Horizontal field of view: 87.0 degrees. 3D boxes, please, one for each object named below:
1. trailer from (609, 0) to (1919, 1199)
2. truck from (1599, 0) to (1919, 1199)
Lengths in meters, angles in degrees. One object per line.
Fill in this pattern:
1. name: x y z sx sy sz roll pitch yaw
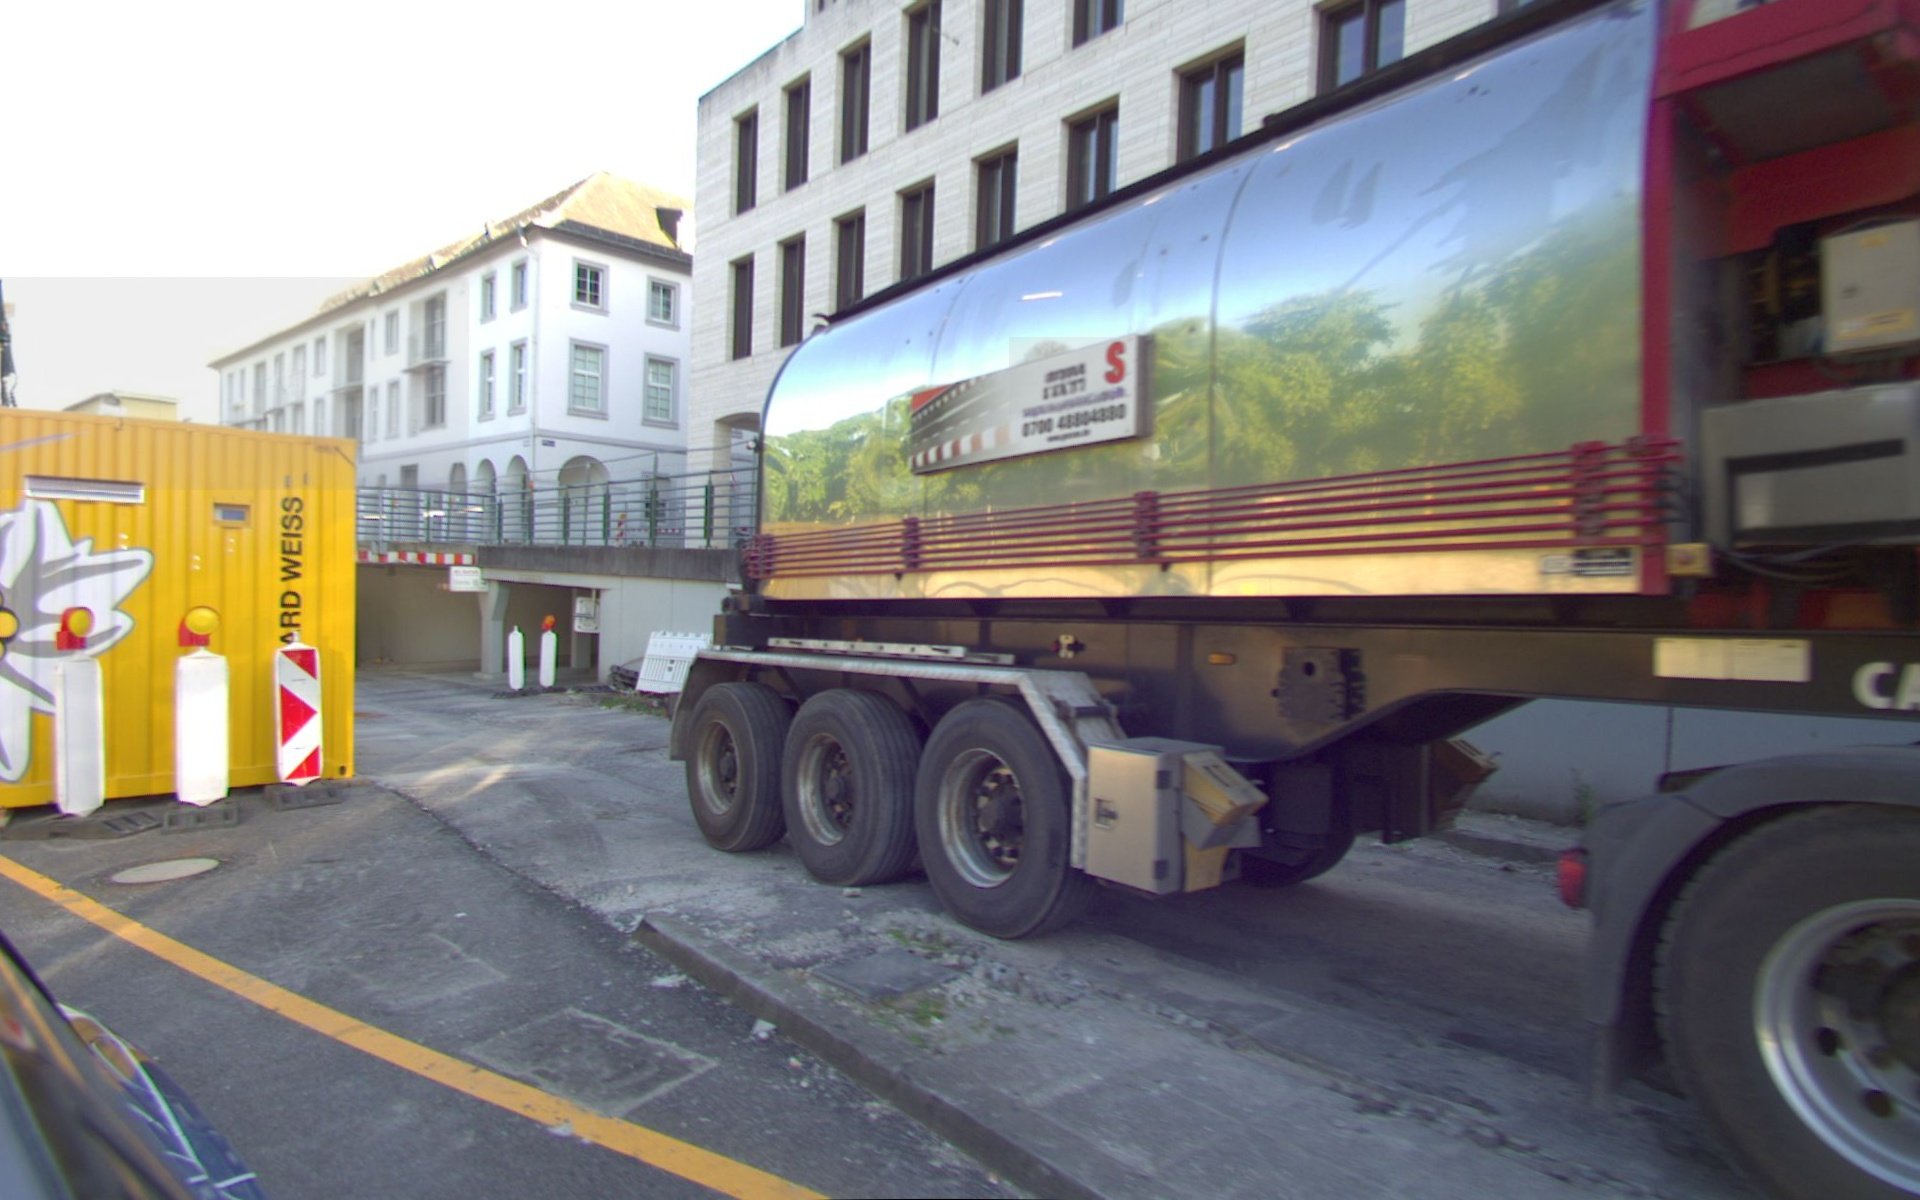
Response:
1. trailer: 1.263 -0.385 4.945 2.608 3.697 8.765 5 -4 -39
2. truck: 4.365 -0.389 0.946 2.545 3.516 5.829 5 -4 -36
